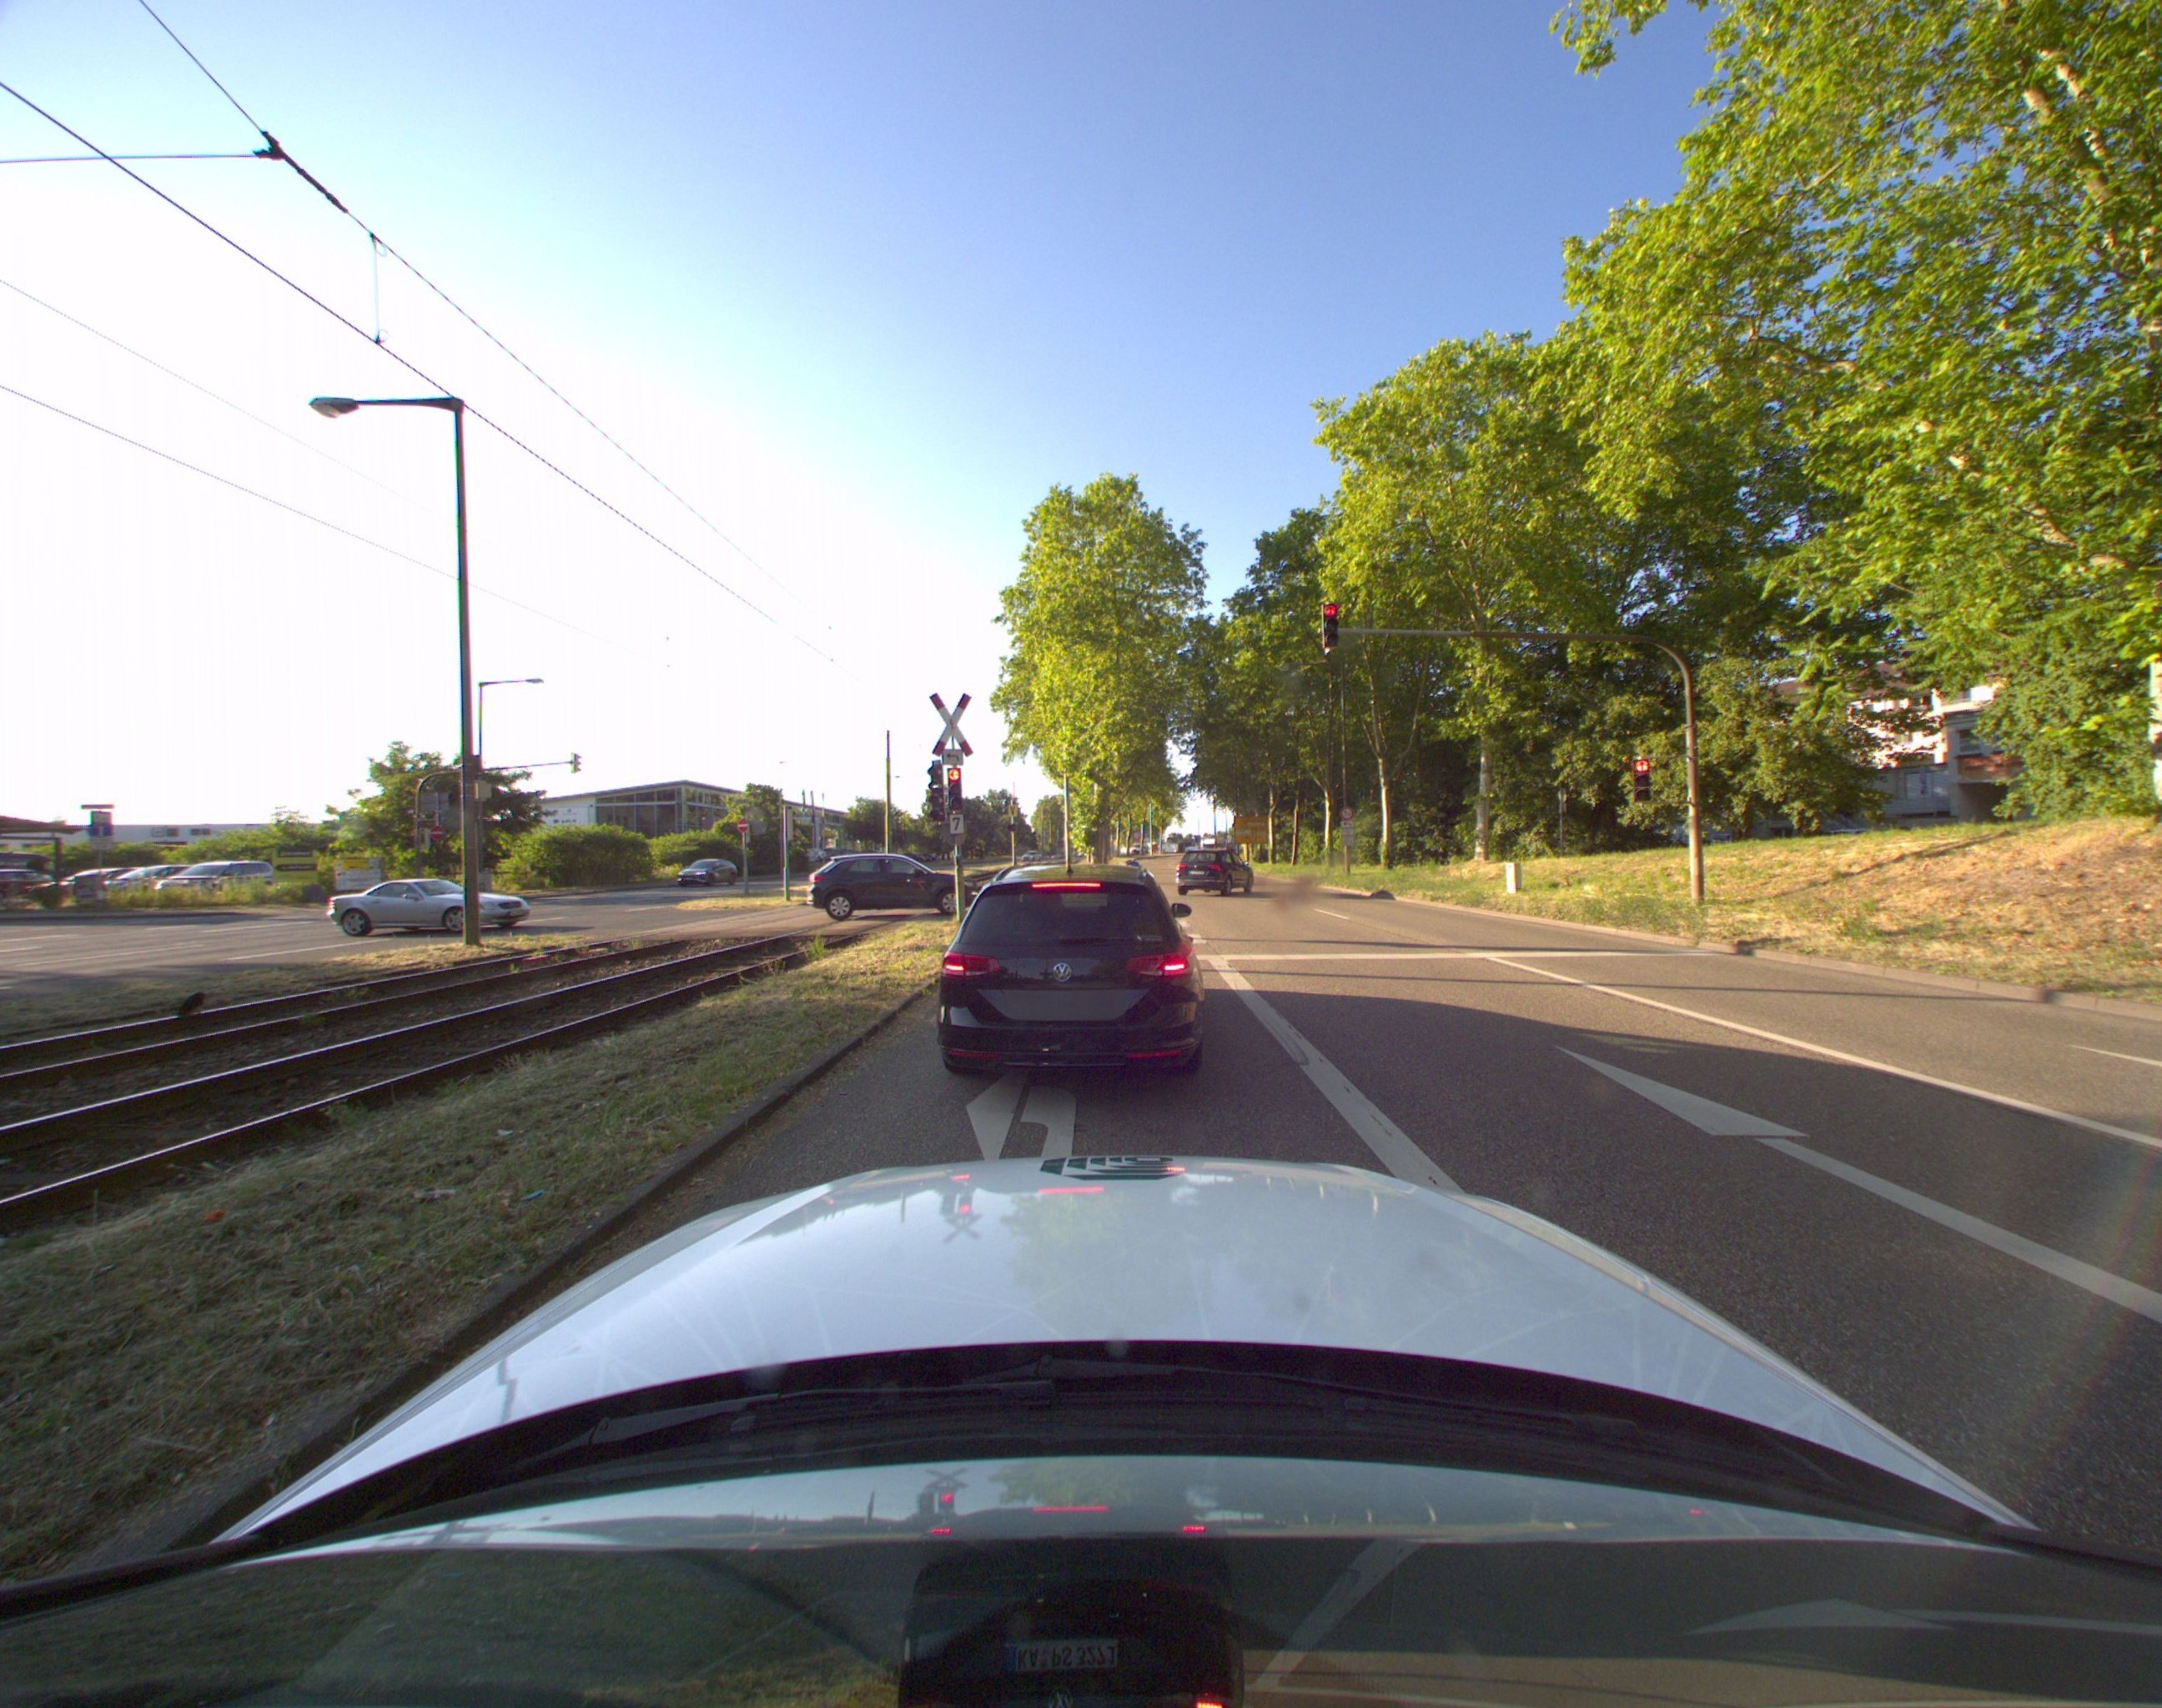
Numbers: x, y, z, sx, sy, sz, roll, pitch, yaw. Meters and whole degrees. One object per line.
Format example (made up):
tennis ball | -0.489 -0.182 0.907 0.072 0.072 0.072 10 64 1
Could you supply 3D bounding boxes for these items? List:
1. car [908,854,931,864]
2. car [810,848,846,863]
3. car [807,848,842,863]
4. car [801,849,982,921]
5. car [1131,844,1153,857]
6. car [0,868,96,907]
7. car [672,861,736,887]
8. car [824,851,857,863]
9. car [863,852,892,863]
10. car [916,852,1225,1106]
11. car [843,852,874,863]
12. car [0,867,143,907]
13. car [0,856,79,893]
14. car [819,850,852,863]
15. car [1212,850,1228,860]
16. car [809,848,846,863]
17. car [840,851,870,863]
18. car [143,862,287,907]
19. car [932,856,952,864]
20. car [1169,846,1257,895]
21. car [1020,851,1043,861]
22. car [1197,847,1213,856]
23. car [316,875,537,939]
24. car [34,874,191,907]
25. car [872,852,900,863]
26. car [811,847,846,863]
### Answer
car | -29.114 0.874 146.832 3.978 1.621 1.742 -1 0 -3
car | -29.956 0.168 96.375 3.999 1.704 1.732 -1 0 -19
car | -31.651 0.135 100.510 3.999 1.816 1.732 -1 0 -19
car | -4.659 0.729 20.307 4.157 1.561 1.705 -2 0 -13
car | 12.105 -0.748 160.893 2.075 2.461 5.888 0 0 29
car | -47.160 1.453 36.035 1.970 1.583 4.174 0 0 2
car | -23.521 1.212 51.011 1.854 1.481 4.176 0 0 3
car | -31.372 0.350 106.201 3.999 1.556 1.732 -1 0 -19
car | -30.615 0.551 122.738 3.978 1.621 1.742 -1 0 -3
car | -0.015 0.727 6.518 1.788 1.464 3.584 0 0 1
car | -31.444 0.480 115.306 3.983 1.556 1.739 -1 0 -7
car | -44.710 1.404 35.883 1.855 1.583 4.174 0 0 2
car | -60.422 1.153 45.894 1.855 2.014 4.773 0 0 2
car | -31.157 0.305 103.410 3.999 1.556 1.732 -1 0 -19
car | 34.569 0.179 202.464 2.075 2.321 5.889 0 0 31
car | -29.266 0.150 94.107 3.999 1.704 1.732 -1 0 -19
car | -31.235 0.442 112.599 3.999 1.556 1.732 -1 0 -19
car | -38.523 1.323 36.402 1.855 1.821 4.174 0 0 2
car | -28.823 1.192 168.912 3.977 1.556 1.742 -1 0 -2
car | 4.831 0.563 29.346 1.855 1.635 4.396 -2 -1 27
car | -7.280 0.275 120.446 1.846 1.481 4.114 0 0 22
car | 29.959 -0.597 197.158 2.075 2.065 4.911 0 0 32
car | -15.697 1.252 19.676 3.958 1.294 1.613 -2 0 -1
car | -42.471 1.564 35.880 1.855 1.267 4.174 0 0 2
car | -30.127 0.595 125.940 3.978 1.621 1.742 -1 0 -3
car | -30.608 0.133 98.730 3.999 1.816 1.732 -1 0 -19
